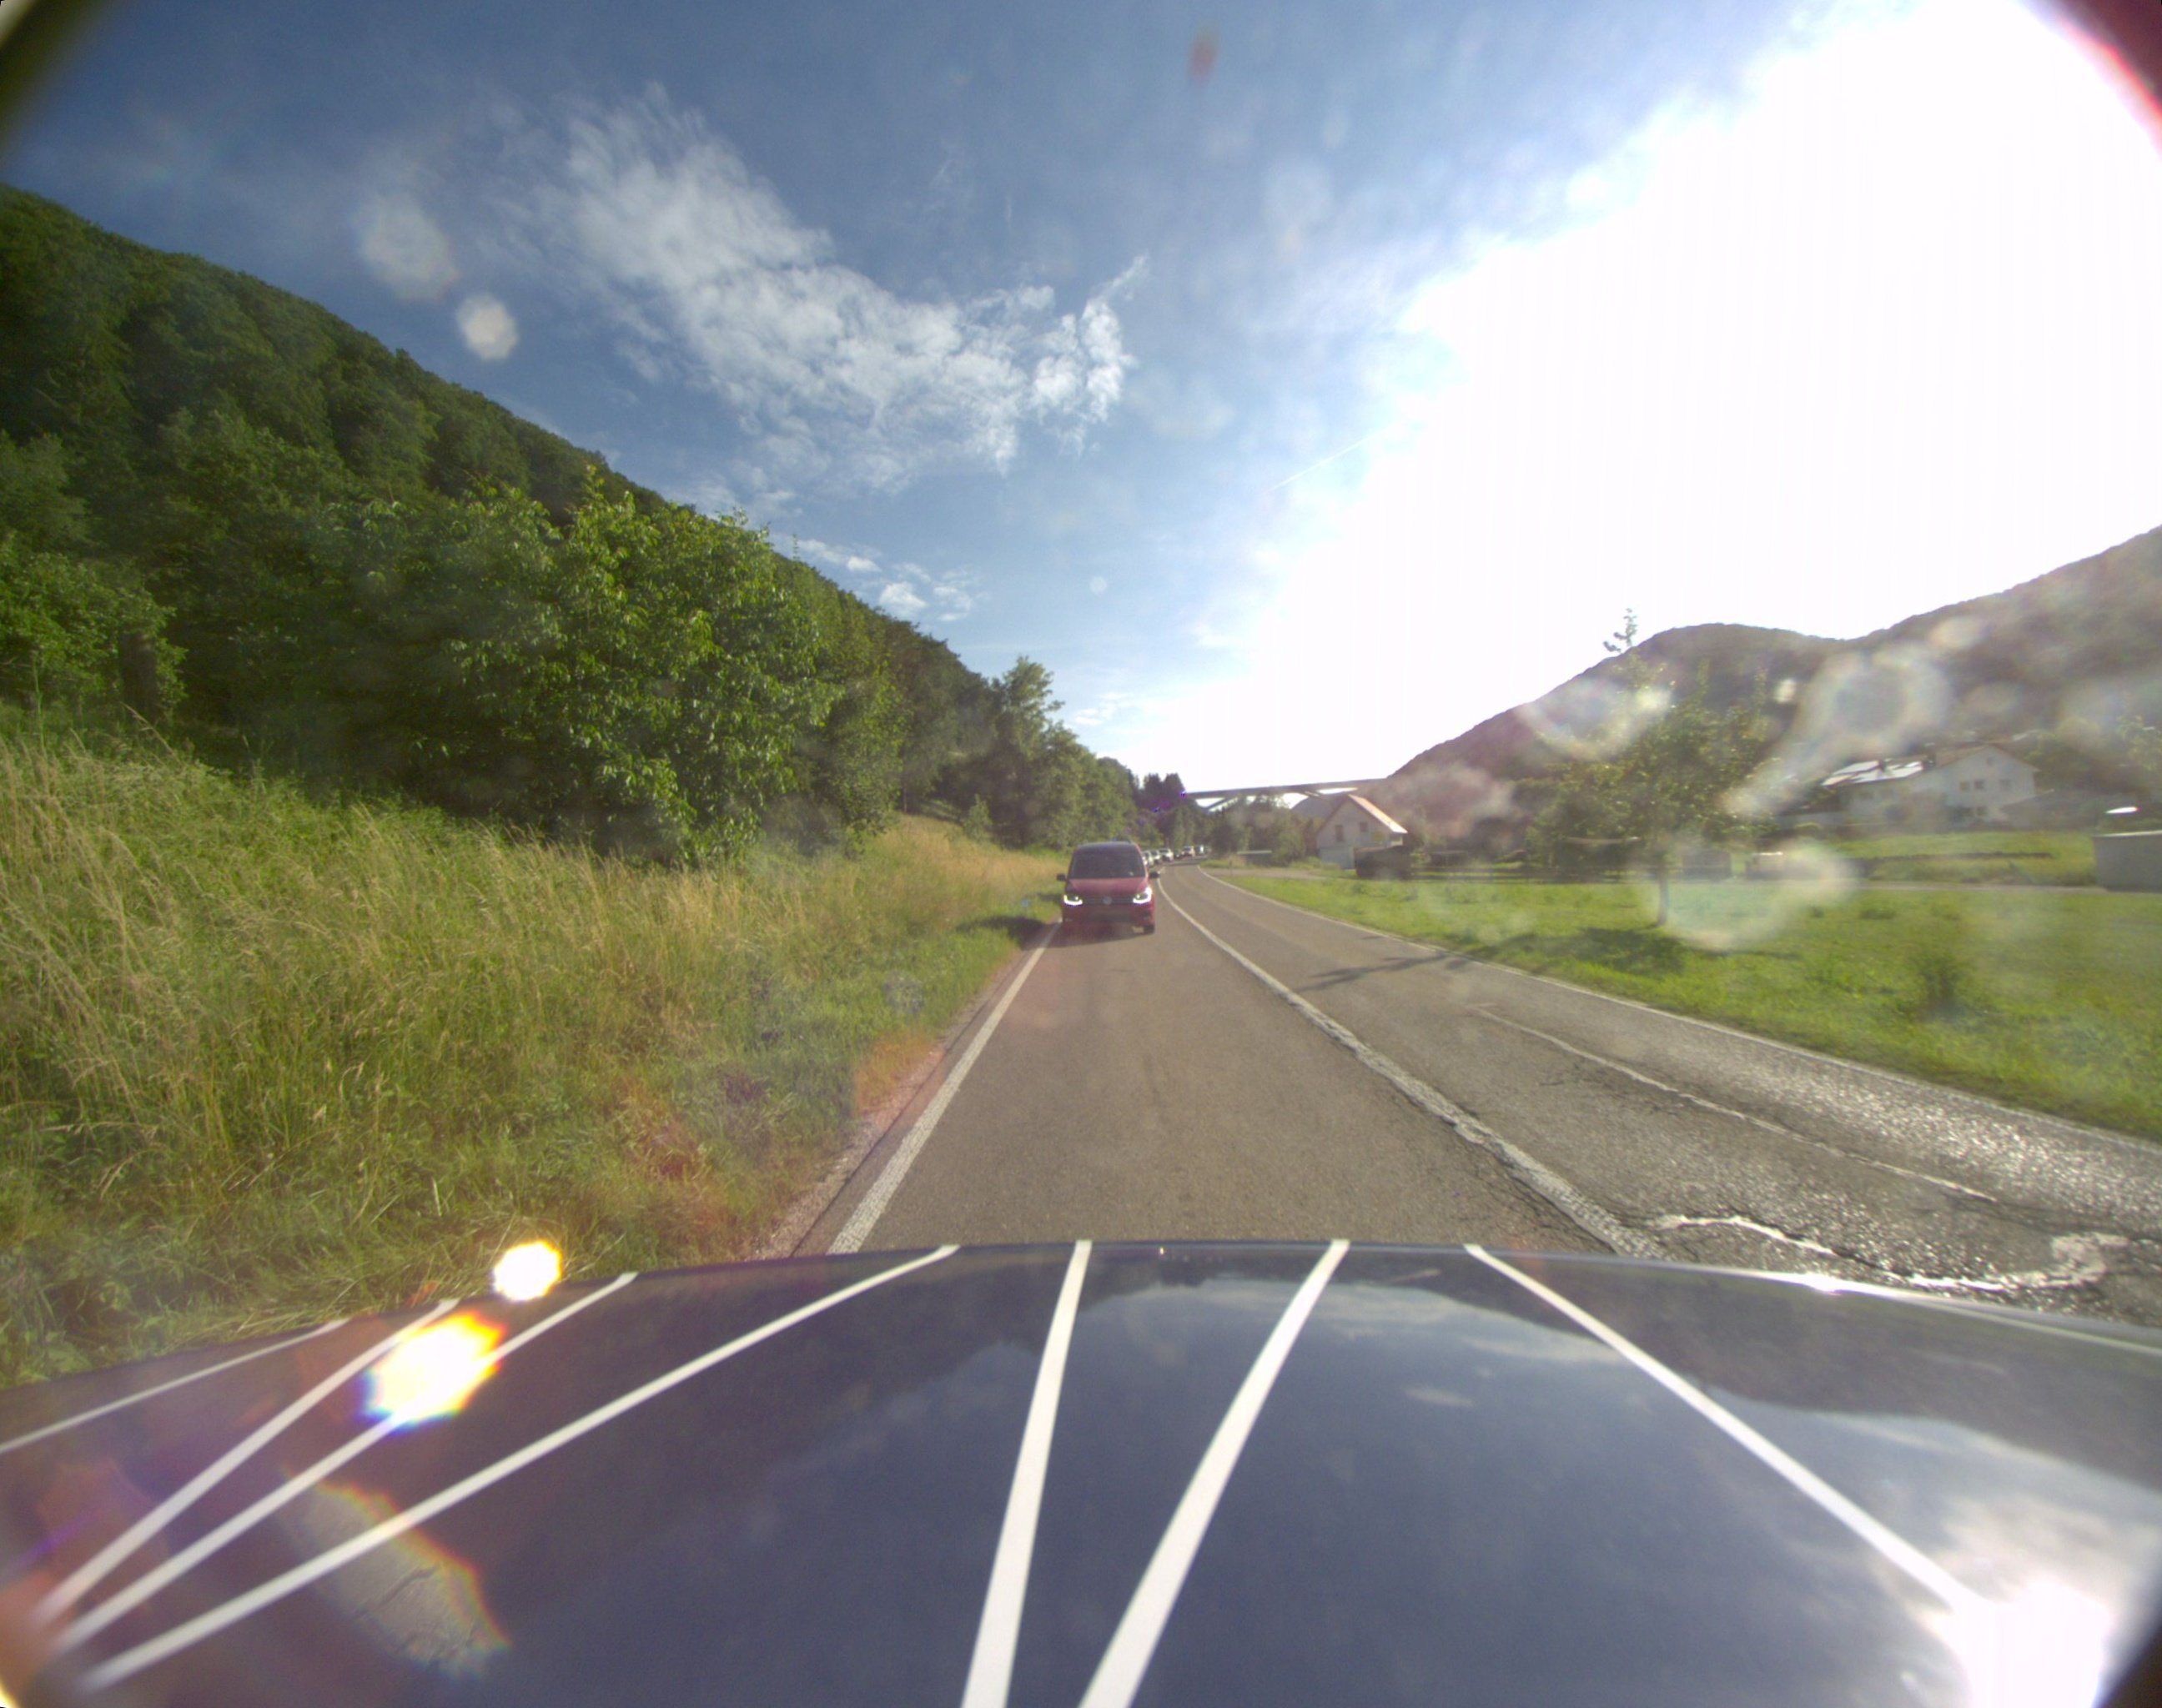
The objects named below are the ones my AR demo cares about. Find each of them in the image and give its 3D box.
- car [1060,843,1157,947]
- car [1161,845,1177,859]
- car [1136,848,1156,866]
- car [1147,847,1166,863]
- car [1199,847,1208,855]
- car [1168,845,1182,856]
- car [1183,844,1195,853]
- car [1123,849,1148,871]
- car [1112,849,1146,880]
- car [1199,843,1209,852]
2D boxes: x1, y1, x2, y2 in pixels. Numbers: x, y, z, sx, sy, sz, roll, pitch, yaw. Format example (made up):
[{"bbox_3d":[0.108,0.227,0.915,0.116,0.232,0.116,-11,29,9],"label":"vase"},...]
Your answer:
[{"bbox_3d":[0.568,0.694,15.269,1.649,1.762,4.000,-2,1,3],"label":"car"},{"bbox_3d":[10.312,-0.239,89.274,1.630,1.470,3.679,-2,1,3],"label":"car"},{"bbox_3d":[5.704,0.265,66.529,1.629,1.470,3.680,-2,1,6],"label":"car"},{"bbox_3d":[7.503,0.064,75.713,1.630,1.470,3.679,-2,1,3],"label":"car"},{"bbox_3d":[23.482,-0.604,146.087,1.629,1.470,3.681,-2,1,10],"label":"car"},{"bbox_3d":[12.880,-0.491,103.918,1.629,1.470,3.681,-2,1,10],"label":"car"},{"bbox_3d":[17.022,-0.879,119.848,1.629,1.470,3.680,-2,1,5],"label":"car"},{"bbox_3d":[4.039,0.434,55.423,1.629,1.470,3.680,-2,1,6],"label":"car"},{"bbox_3d":[2.647,0.541,41.440,1.629,1.470,3.680,-2,1,6],"label":"car"},{"bbox_3d":[21.842,-1.124,135.072,1.629,1.470,3.681,-2,1,10],"label":"car"}]
